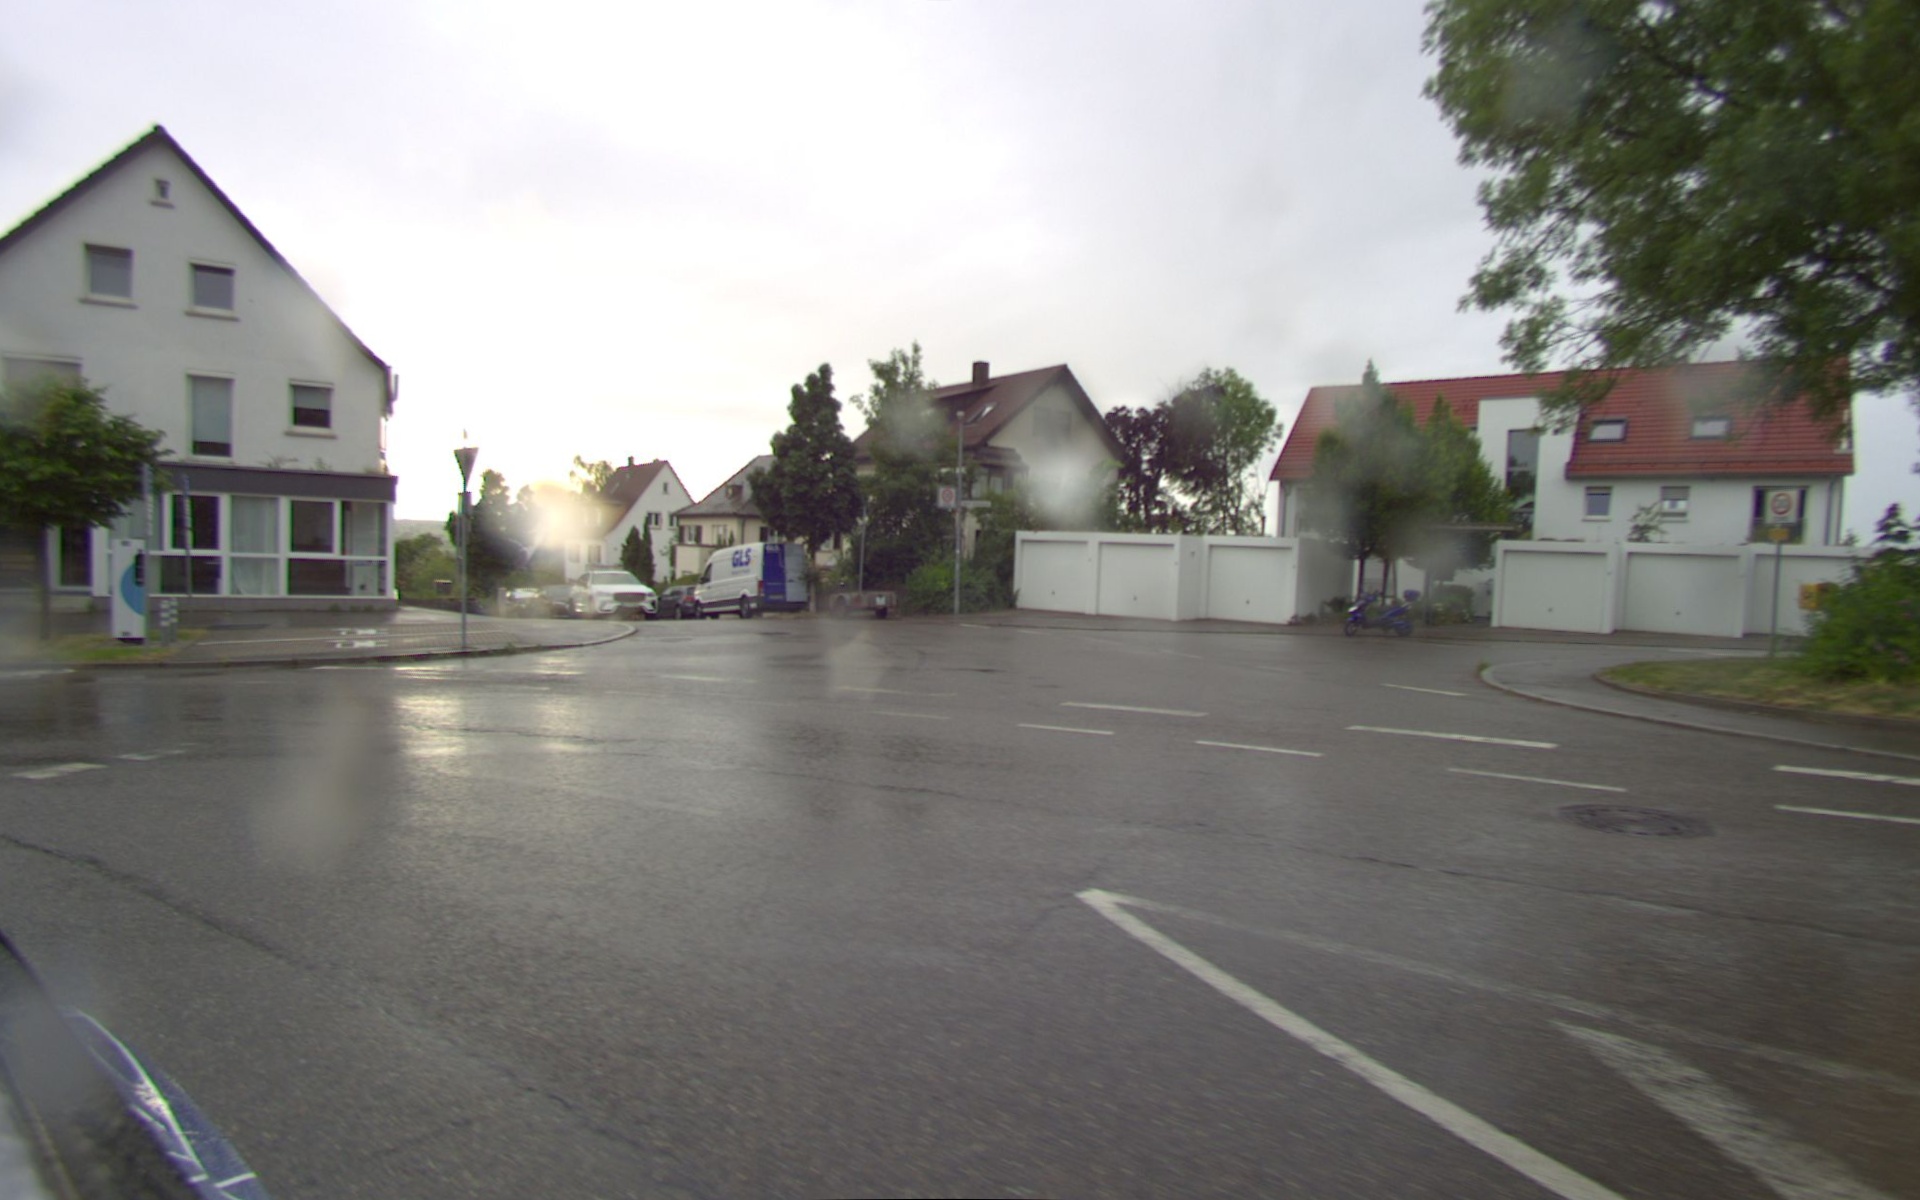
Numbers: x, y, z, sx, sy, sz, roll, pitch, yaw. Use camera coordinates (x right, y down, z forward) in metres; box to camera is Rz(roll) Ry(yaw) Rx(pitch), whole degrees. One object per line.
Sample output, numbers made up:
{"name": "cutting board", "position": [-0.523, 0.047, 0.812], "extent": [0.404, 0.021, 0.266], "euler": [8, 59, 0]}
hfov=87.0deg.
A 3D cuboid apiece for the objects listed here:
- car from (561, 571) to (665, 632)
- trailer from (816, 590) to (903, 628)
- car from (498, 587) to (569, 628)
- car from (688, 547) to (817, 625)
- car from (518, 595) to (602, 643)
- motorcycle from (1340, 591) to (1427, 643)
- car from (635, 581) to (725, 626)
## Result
{"name": "car", "position": [-10.818, -0.008, 31.304], "extent": [2.032, 1.718, 4.808], "euler": [-1, 2, -31]}
{"name": "trailer", "position": [-3.038, 0.245, 30.251], "extent": [1.566, 1.014, 2.832], "euler": [-2, 2, -29]}
{"name": "car", "position": [-17.622, 0.255, 41.702], "extent": [2.032, 1.521, 4.495], "euler": [-1, 2, -31]}
{"name": "car", "position": [-7.508, -0.535, 36.095], "extent": [2.155, 2.542, 6.270], "euler": [-1, 2, -35]}
{"name": "car", "position": [-14.372, 0.618, 36.211], "extent": [2.032, 1.521, 4.495], "euler": [-1, 2, -31]}
{"name": "motorcycle", "position": [11.168, 0.448, 26.748], "extent": [2.026, 1.332, 0.706], "euler": [0, 1, 14]}
{"name": "car", "position": [-11.644, 0.087, 41.858], "extent": [2.033, 1.718, 4.806], "euler": [-1, 2, -35]}
